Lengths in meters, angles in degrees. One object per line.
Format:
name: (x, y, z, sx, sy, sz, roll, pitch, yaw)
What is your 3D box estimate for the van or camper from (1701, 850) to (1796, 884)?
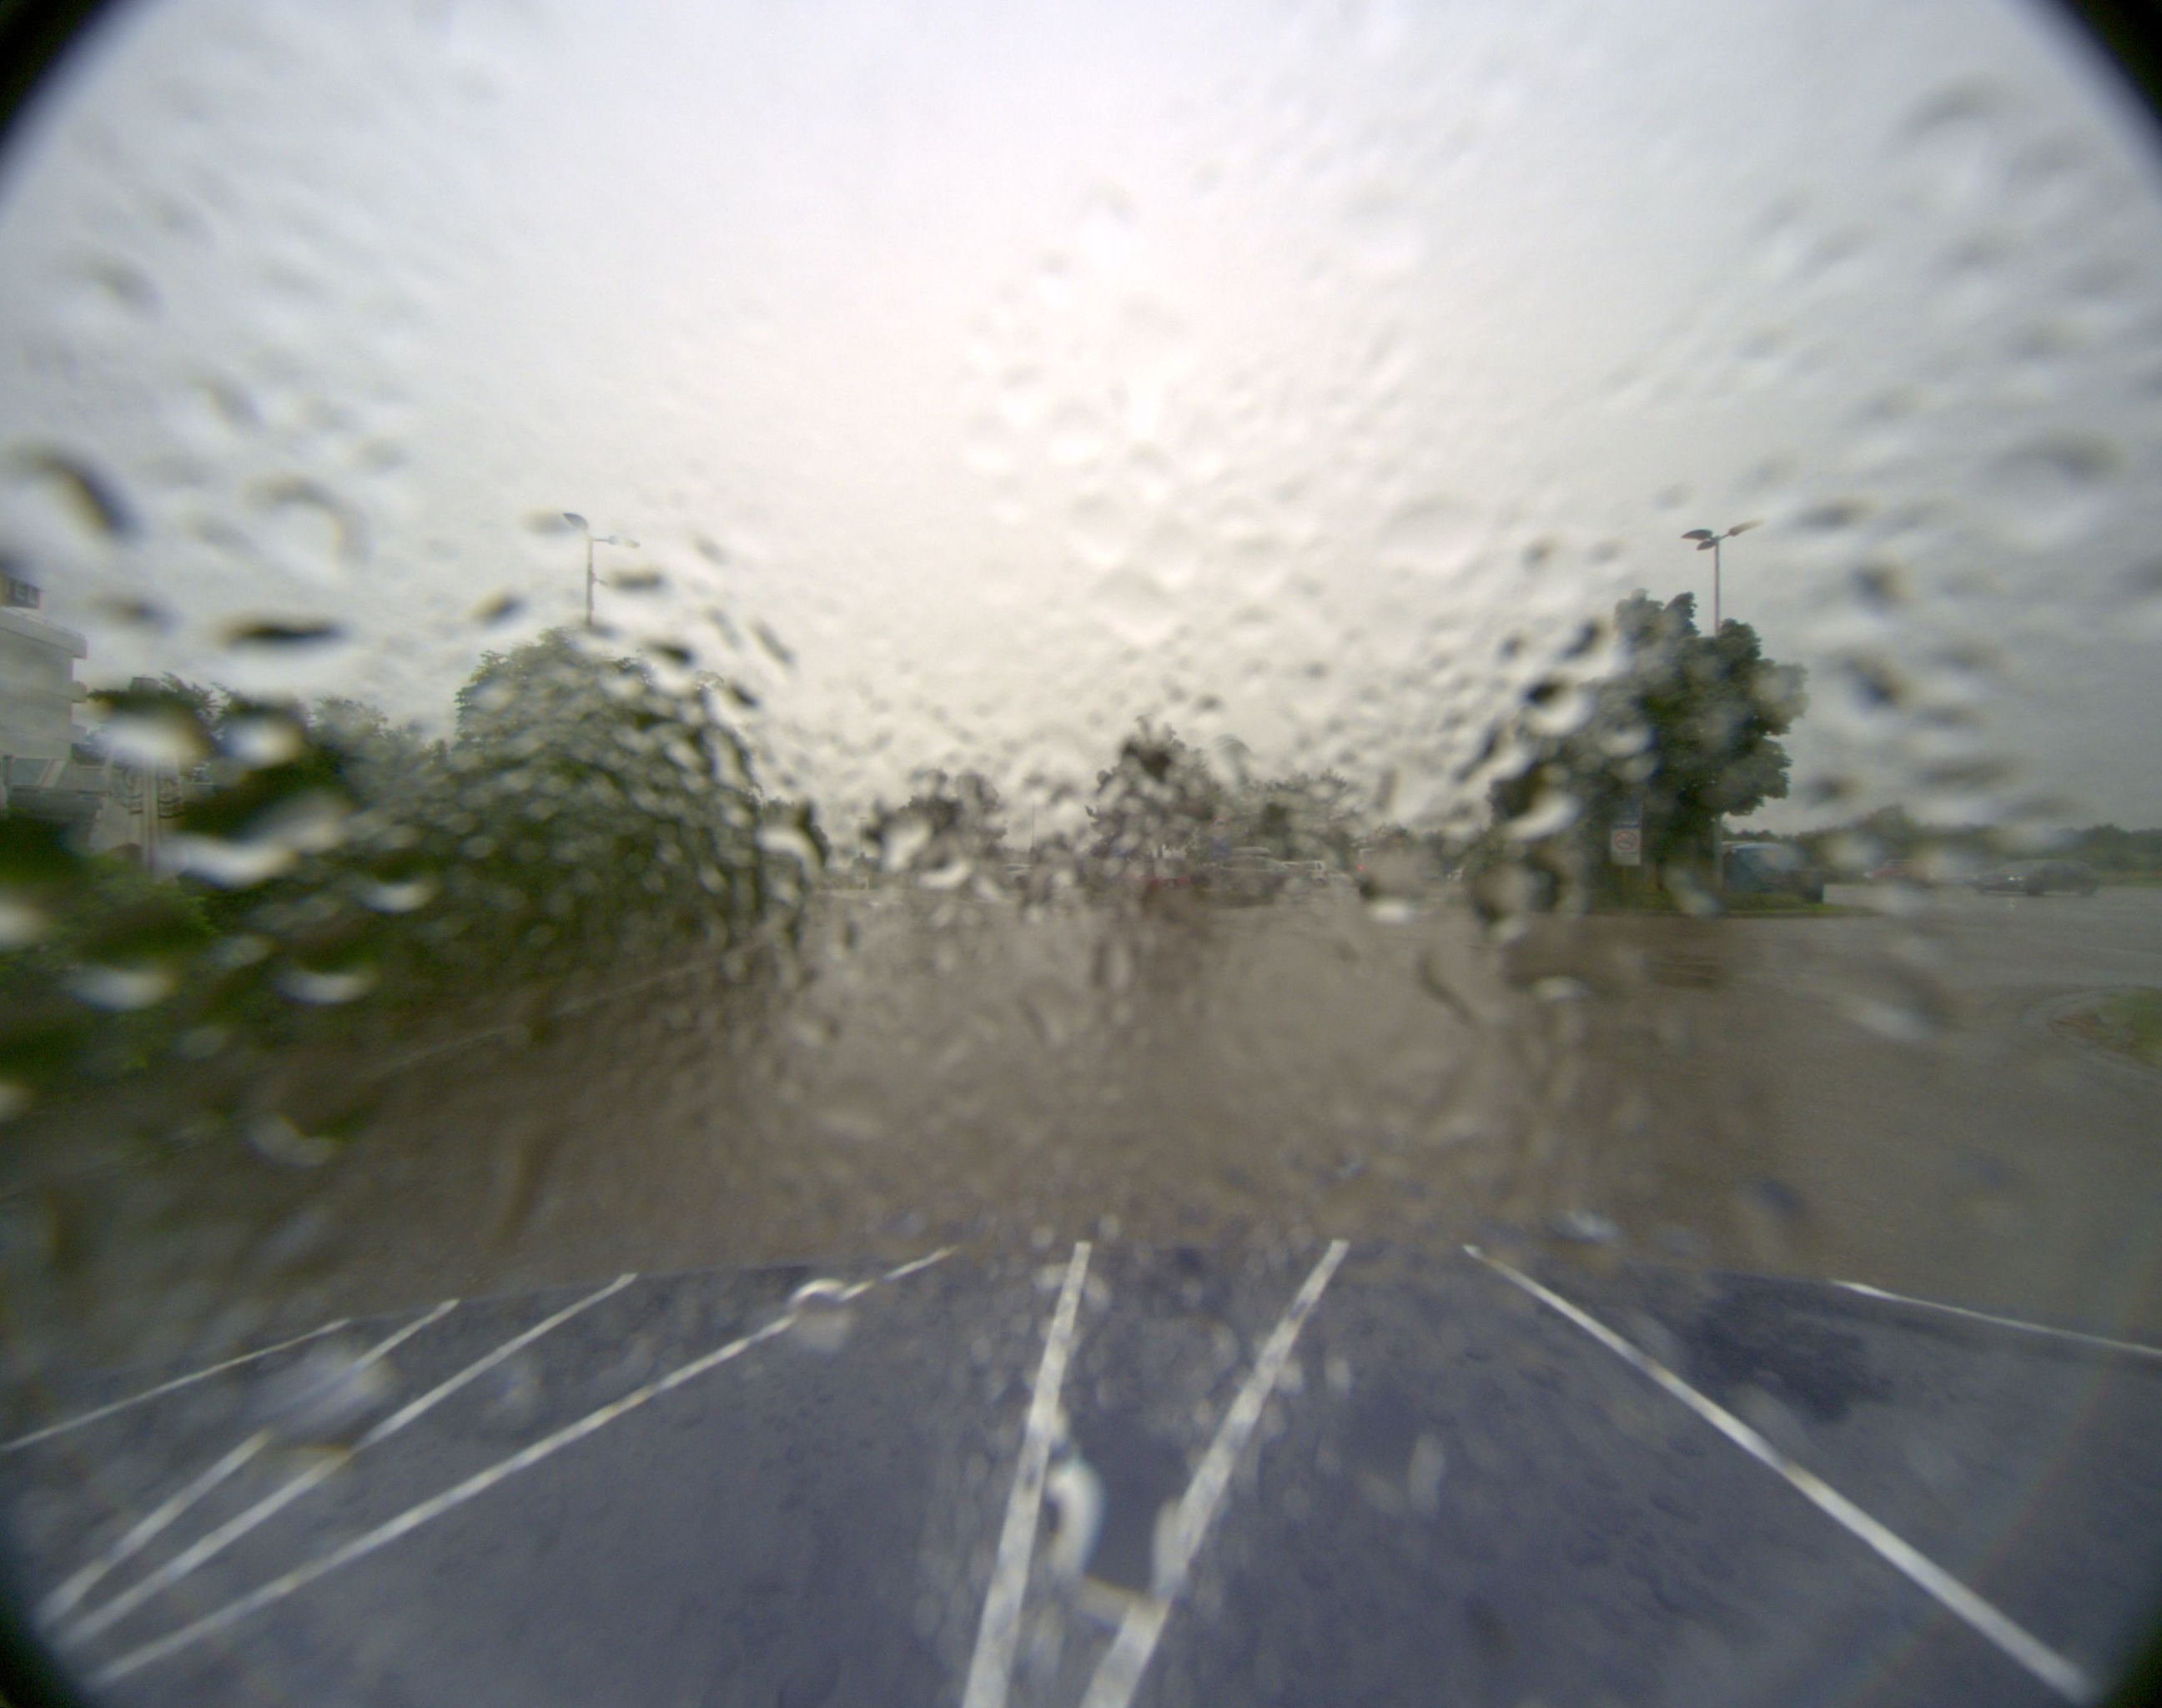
van or camper: (46.074, 0.880, 52.431, 6.424, 2.233, 2.131, 0, 1, -20)

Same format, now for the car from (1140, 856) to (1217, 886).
car: (6.110, 1.047, 47.506, 4.390, 1.768, 1.928, 0, 1, 22)

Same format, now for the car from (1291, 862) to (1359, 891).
car: (18.935, 1.703, 58.968, 4.756, 2.069, 2.003, 0, 1, 25)

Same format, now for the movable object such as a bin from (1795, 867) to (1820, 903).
movable object such as a bin: (18.973, 0.805, 19.844, 0.490, 0.912, 0.449, 0, 1, -44)

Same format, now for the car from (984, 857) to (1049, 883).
car: (-4.374, 1.046, 51.276, 4.038, 1.683, 1.716, 0, 1, 27)

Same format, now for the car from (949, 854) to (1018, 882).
car: (-6.240, 0.883, 48.532, 4.038, 1.683, 1.803, 0, 1, 27)

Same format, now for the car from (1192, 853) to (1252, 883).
car: (9.683, 0.941, 52.231, 3.777, 2.002, 1.790, 0, 0, 21)

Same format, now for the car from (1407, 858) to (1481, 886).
car: (22.651, 1.098, 47.510, 4.083, 1.619, 1.789, 0, 1, 25)

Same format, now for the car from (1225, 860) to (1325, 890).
car: (10.127, 1.057, 39.718, 4.756, 1.463, 1.889, 0, 1, 25)

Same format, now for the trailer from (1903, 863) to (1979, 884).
trailer: (45.871, 1.027, 40.530, 3.033, 1.061, 1.587, 1, -1, -17)

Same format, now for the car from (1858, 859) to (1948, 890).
car: (42.457, 1.057, 39.258, 4.059, 1.546, 1.547, 0, 0, -17)

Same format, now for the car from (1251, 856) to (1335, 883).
car: (13.179, 0.950, 47.283, 4.756, 1.578, 2.003, 0, 1, 25)

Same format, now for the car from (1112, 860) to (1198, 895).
car: (4.142, 1.266, 42.506, 4.390, 1.874, 1.928, 0, 1, 22)

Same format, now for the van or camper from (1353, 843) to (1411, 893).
van or camper: (13.574, 0.545, 34.082, 2.189, 1.934, 5.204, 0, 2, 24)

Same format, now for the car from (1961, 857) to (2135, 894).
car: (39.614, 0.842, 31.279, 4.068, 1.425, 1.782, 1, 0, 23)

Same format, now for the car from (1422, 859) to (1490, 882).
car: (25.694, 1.126, 52.141, 4.083, 1.488, 1.769, 0, 1, 25)

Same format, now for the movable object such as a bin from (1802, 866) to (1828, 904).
movable object such as a bin: (18.698, 0.791, 19.360, 0.490, 0.933, 0.449, 0, 1, -44)

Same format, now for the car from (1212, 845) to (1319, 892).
car: (9.015, 0.679, 37.180, 4.756, 2.176, 2.003, 0, 1, 25)
